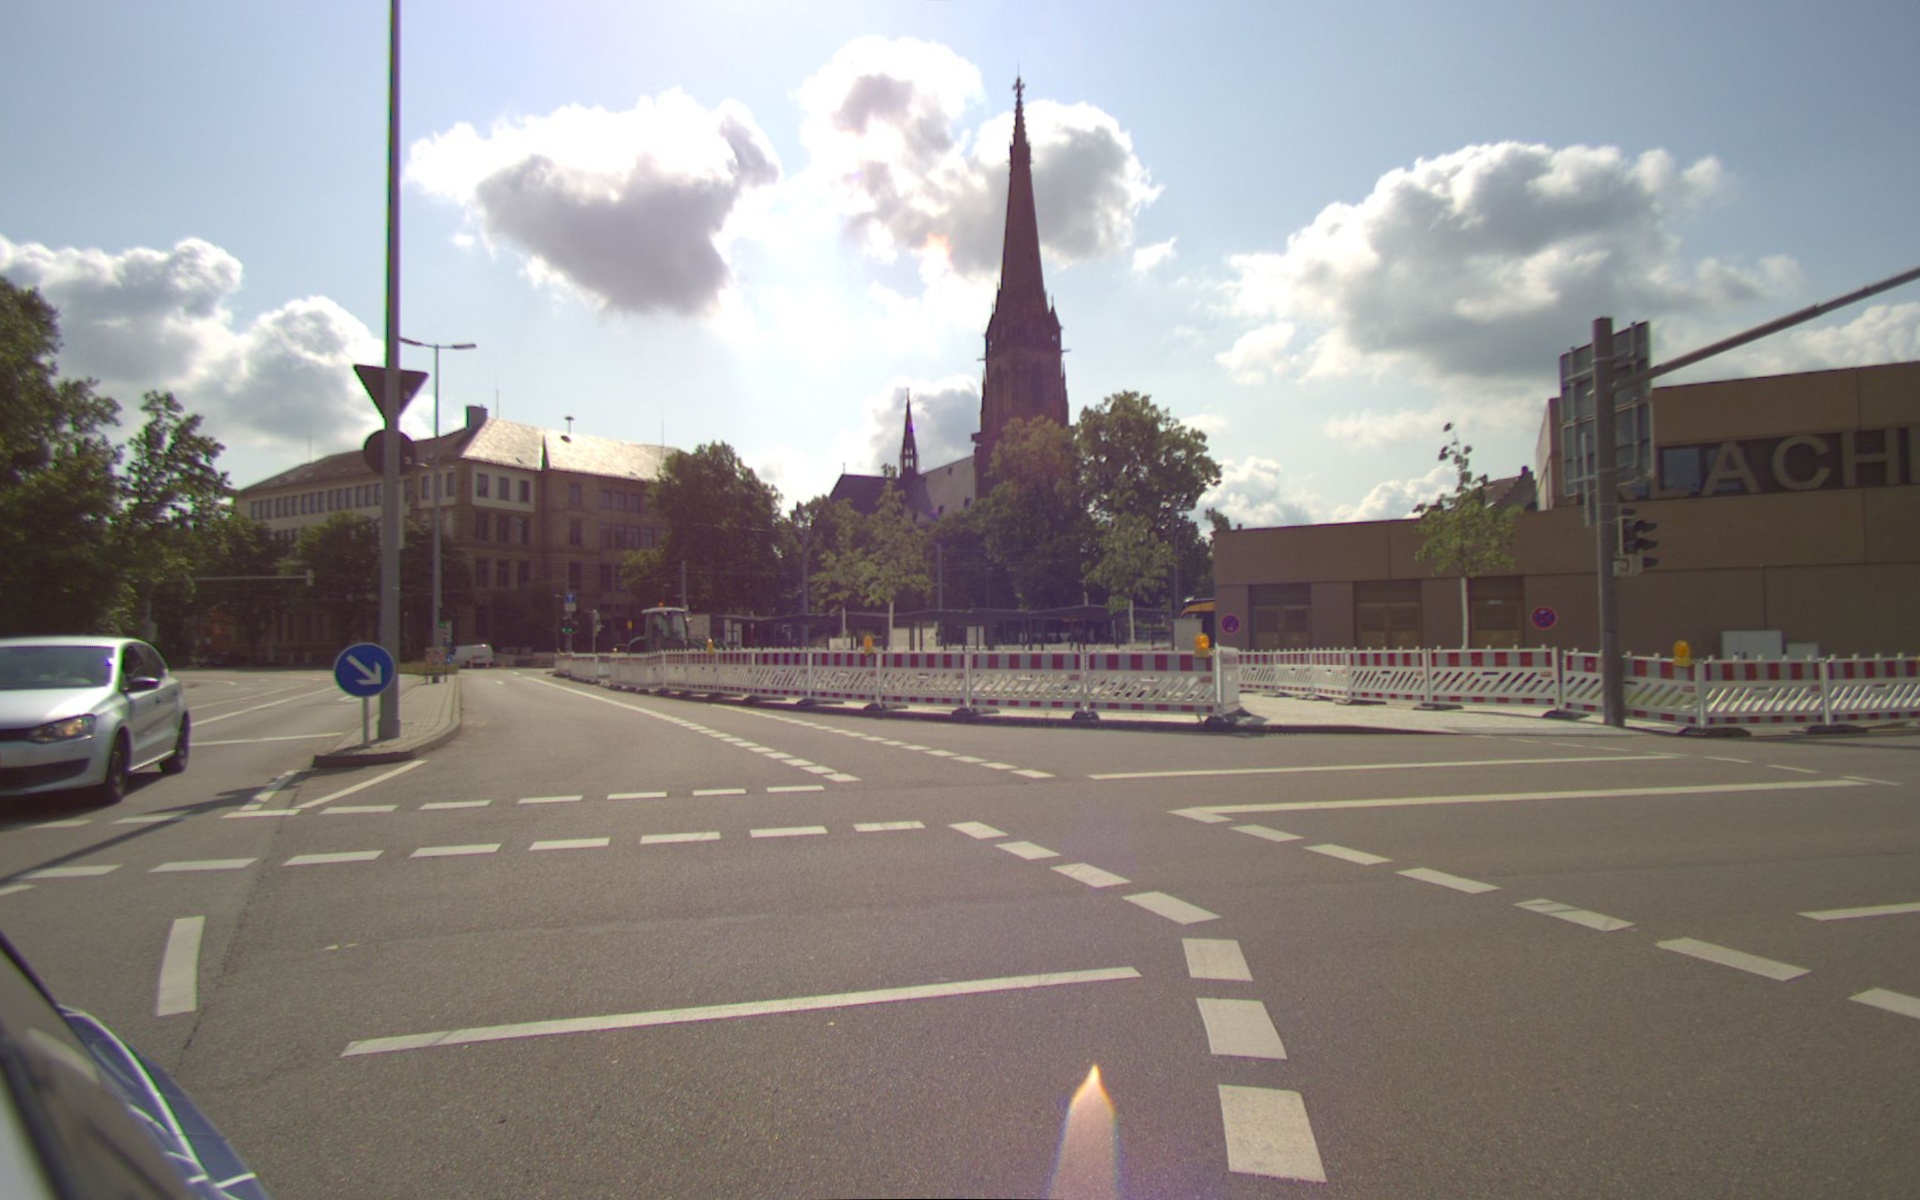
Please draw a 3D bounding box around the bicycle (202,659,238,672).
[{"bbox_3d":[-77.252,6.842,105.625,2.845,1.216,1.053,0,0,-19],"label":"bicycle"}]

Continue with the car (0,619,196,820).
[{"bbox_3d":[-8.253,0.986,9.012,1.628,1.453,4.017,-2,-2,-27],"label":"car"}]

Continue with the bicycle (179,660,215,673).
[{"bbox_3d":[-80.302,7.006,106.534,2.845,1.216,1.076,0,0,-19],"label":"bicycle"}]

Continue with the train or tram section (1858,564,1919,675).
[{"bbox_3d":[36.414,0.512,31.372,12.358,3.599,2.642,-2,-3,29],"label":"train or tram section"}]

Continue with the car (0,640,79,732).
[{"bbox_3d":[-20.390,1.791,21.102,1.822,1.799,4.686,-1,-3,-25],"label":"car"}]

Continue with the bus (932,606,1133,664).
[{"bbox_3d":[4.223,2.203,61.186,12.021,3.287,2.964,-2,-3,29],"label":"bus"}]

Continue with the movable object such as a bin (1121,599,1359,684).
[{"bbox_3d":[12.214,1.907,44.707,9.649,3.450,2.990,-2,-3,30],"label":"movable object such as a bin"}]

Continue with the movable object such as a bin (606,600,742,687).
[{"bbox_3d":[-10.299,1.596,36.483,4.418,2.972,1.986,-2,-3,20],"label":"movable object such as a bin"}]

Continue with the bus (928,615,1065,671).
[{"bbox_3d":[2.063,2.540,58.702,7.728,3.082,2.351,-2,-3,29],"label":"bus"}]
